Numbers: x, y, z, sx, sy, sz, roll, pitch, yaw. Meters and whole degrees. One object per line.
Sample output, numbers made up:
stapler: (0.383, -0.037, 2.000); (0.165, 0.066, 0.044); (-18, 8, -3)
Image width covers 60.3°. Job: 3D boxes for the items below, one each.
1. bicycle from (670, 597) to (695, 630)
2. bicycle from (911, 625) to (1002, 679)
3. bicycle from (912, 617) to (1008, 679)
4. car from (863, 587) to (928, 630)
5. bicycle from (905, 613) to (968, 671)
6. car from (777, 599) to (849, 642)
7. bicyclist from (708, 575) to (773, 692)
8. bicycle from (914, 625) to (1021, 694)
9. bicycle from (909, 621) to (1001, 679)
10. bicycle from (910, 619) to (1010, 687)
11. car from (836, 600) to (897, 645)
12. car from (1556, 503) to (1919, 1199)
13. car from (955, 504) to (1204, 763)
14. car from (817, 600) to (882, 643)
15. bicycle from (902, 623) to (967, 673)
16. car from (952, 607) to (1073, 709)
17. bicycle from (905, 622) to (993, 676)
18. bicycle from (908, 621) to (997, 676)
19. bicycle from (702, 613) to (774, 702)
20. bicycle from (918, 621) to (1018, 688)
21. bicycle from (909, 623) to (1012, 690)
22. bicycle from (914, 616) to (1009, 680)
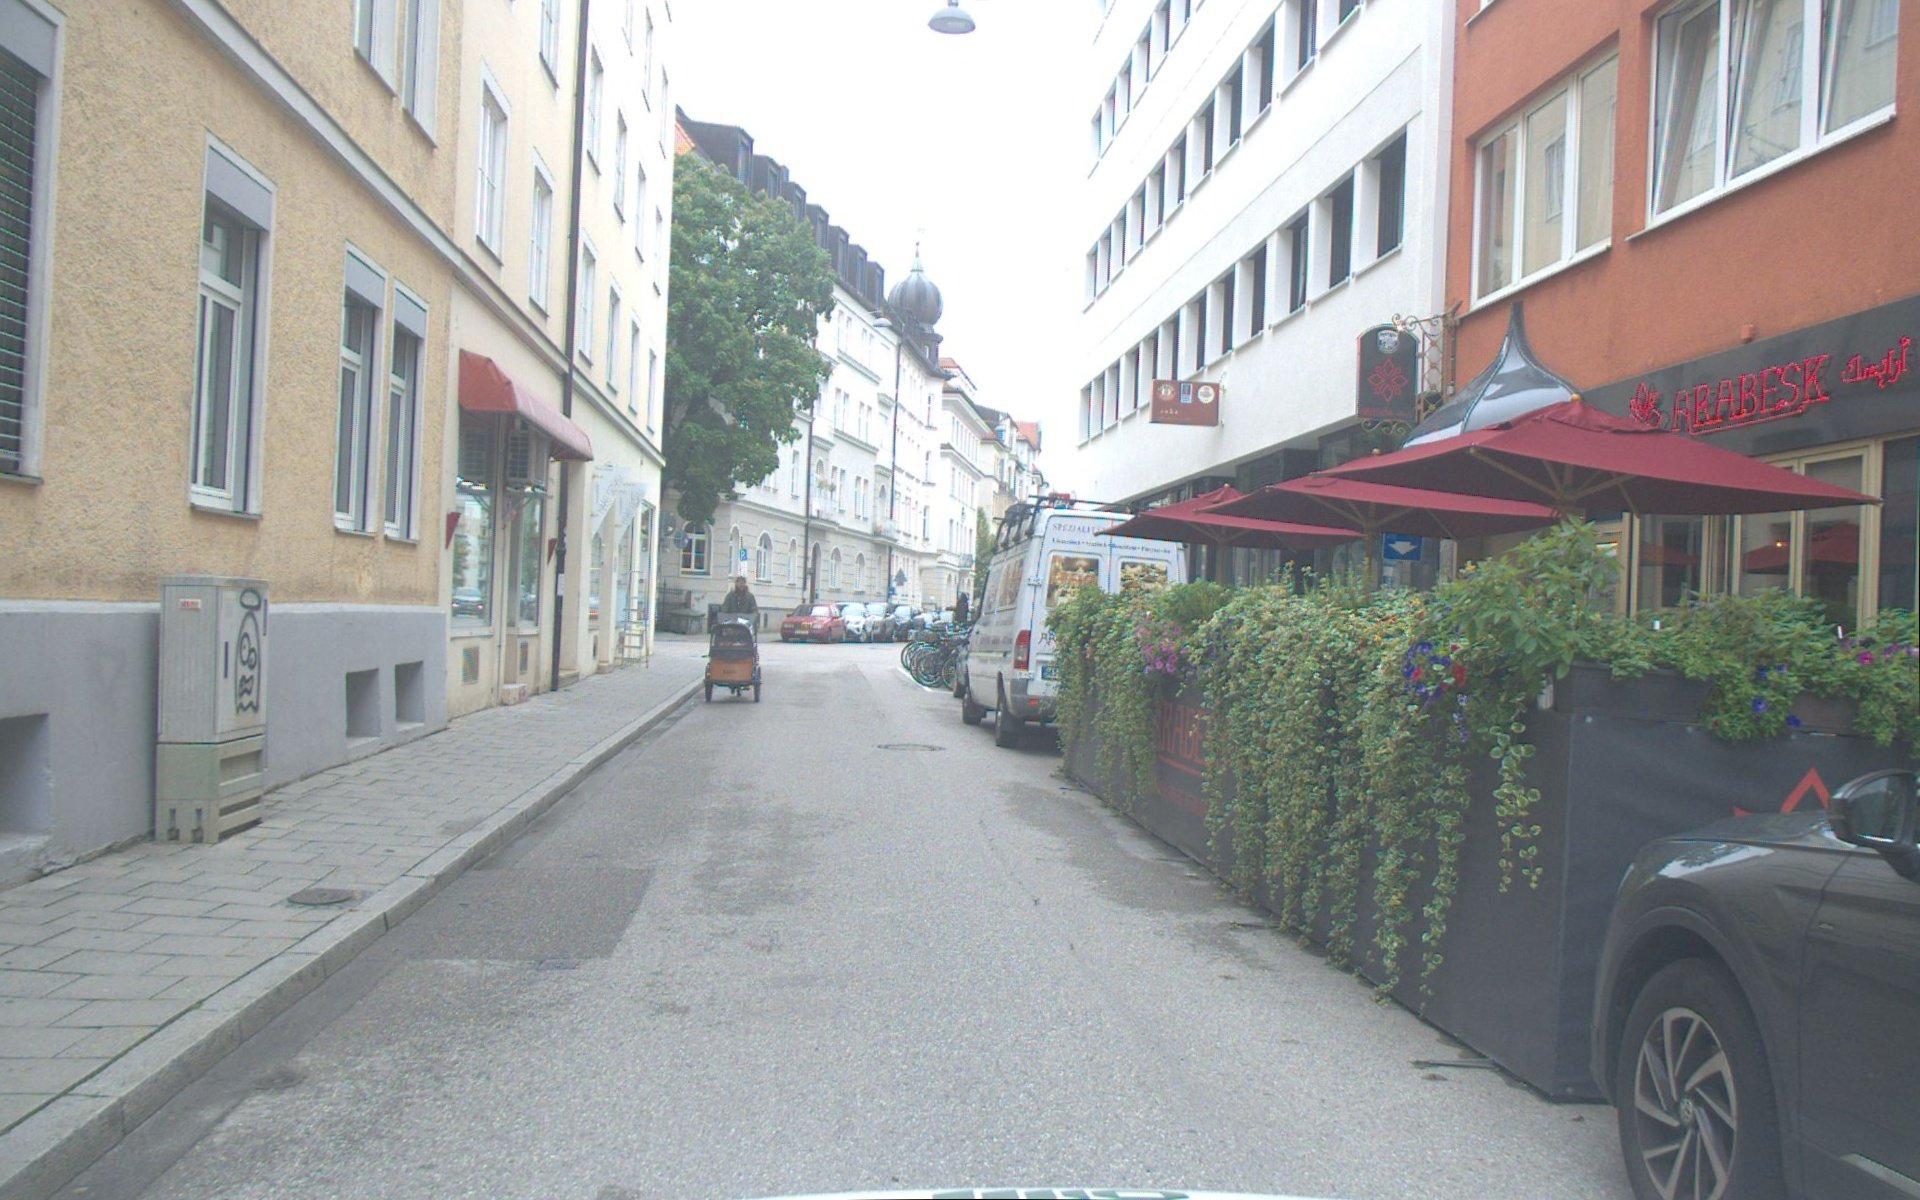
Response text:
bicycle: (-9.653, 0.462, 57.581); (0.483, 1.071, 1.827); (2, 1, 0)
bicycle: (-0.072, 1.110, 35.045); (1.839, 1.070, 0.563); (2, -2, -9)
bicycle: (-0.003, 0.972, 33.771); (1.858, 1.190, 0.565); (2, 0, -8)
car: (-2.855, 0.402, 74.467); (1.951, 1.768, 4.525); (3, 0, 9)
bicycle: (-0.573, 1.009, 39.636); (1.428, 1.308, 0.445); (3, -1, -4)
car: (-5.228, 0.736, 59.239); (1.694, 1.402, 4.229); (2, -1, 7)
bicyclist: (-3.378, 0.513, 25.537); (0.908, 1.751, 1.098); (1, 0, -4)
bicycle: (0.128, 1.093, 30.283); (1.838, 1.098, 0.488); (5, 0, -7)
bicycle: (-0.104, 1.033, 34.337); (1.839, 1.114, 0.439); (2, 0, -9)
bicycle: (-0.010, 1.015, 31.753); (1.838, 1.225, 0.488); (2, 0, -7)
car: (-3.848, 0.947, 69.019); (1.902, 1.732, 4.002); (3, 0, 5)
car: (2.785, 0.728, 2.632); (1.788, 1.740, 4.385); (3, 0, -4)
car: (1.229, 0.350, 20.030); (1.883, 2.549, 5.989); (3, 0, -6)
car: (-4.257, 0.834, 64.441); (1.952, 1.499, 4.220); (2, -1, 3)
bicycle: (-0.595, 1.118, 38.619); (1.426, 1.088, 0.462); (3, -1, -13)
car: (0.796, 0.899, 27.035); (1.549, 1.489, 3.548); (2, 0, -4)
bicycle: (-0.241, 1.065, 36.171); (1.839, 1.098, 0.407); (2, 0, -9)
bicycle: (-0.168, 1.054, 35.737); (1.839, 1.098, 0.401); (2, 0, -9)
bicycle: (-3.361, 0.850, 25.215); (0.913, 1.279, 2.411); (1, -1, -4)
bicycle: (0.149, 1.066, 32.452); (1.838, 1.177, 0.564); (4, 0, -7)
bicycle: (0.006, 1.068, 31.232); (1.838, 1.127, 0.488); (4, 0, -7)
bicycle: (0.024, 0.964, 33.175); (1.838, 1.225, 0.579); (1, 0, -7)
